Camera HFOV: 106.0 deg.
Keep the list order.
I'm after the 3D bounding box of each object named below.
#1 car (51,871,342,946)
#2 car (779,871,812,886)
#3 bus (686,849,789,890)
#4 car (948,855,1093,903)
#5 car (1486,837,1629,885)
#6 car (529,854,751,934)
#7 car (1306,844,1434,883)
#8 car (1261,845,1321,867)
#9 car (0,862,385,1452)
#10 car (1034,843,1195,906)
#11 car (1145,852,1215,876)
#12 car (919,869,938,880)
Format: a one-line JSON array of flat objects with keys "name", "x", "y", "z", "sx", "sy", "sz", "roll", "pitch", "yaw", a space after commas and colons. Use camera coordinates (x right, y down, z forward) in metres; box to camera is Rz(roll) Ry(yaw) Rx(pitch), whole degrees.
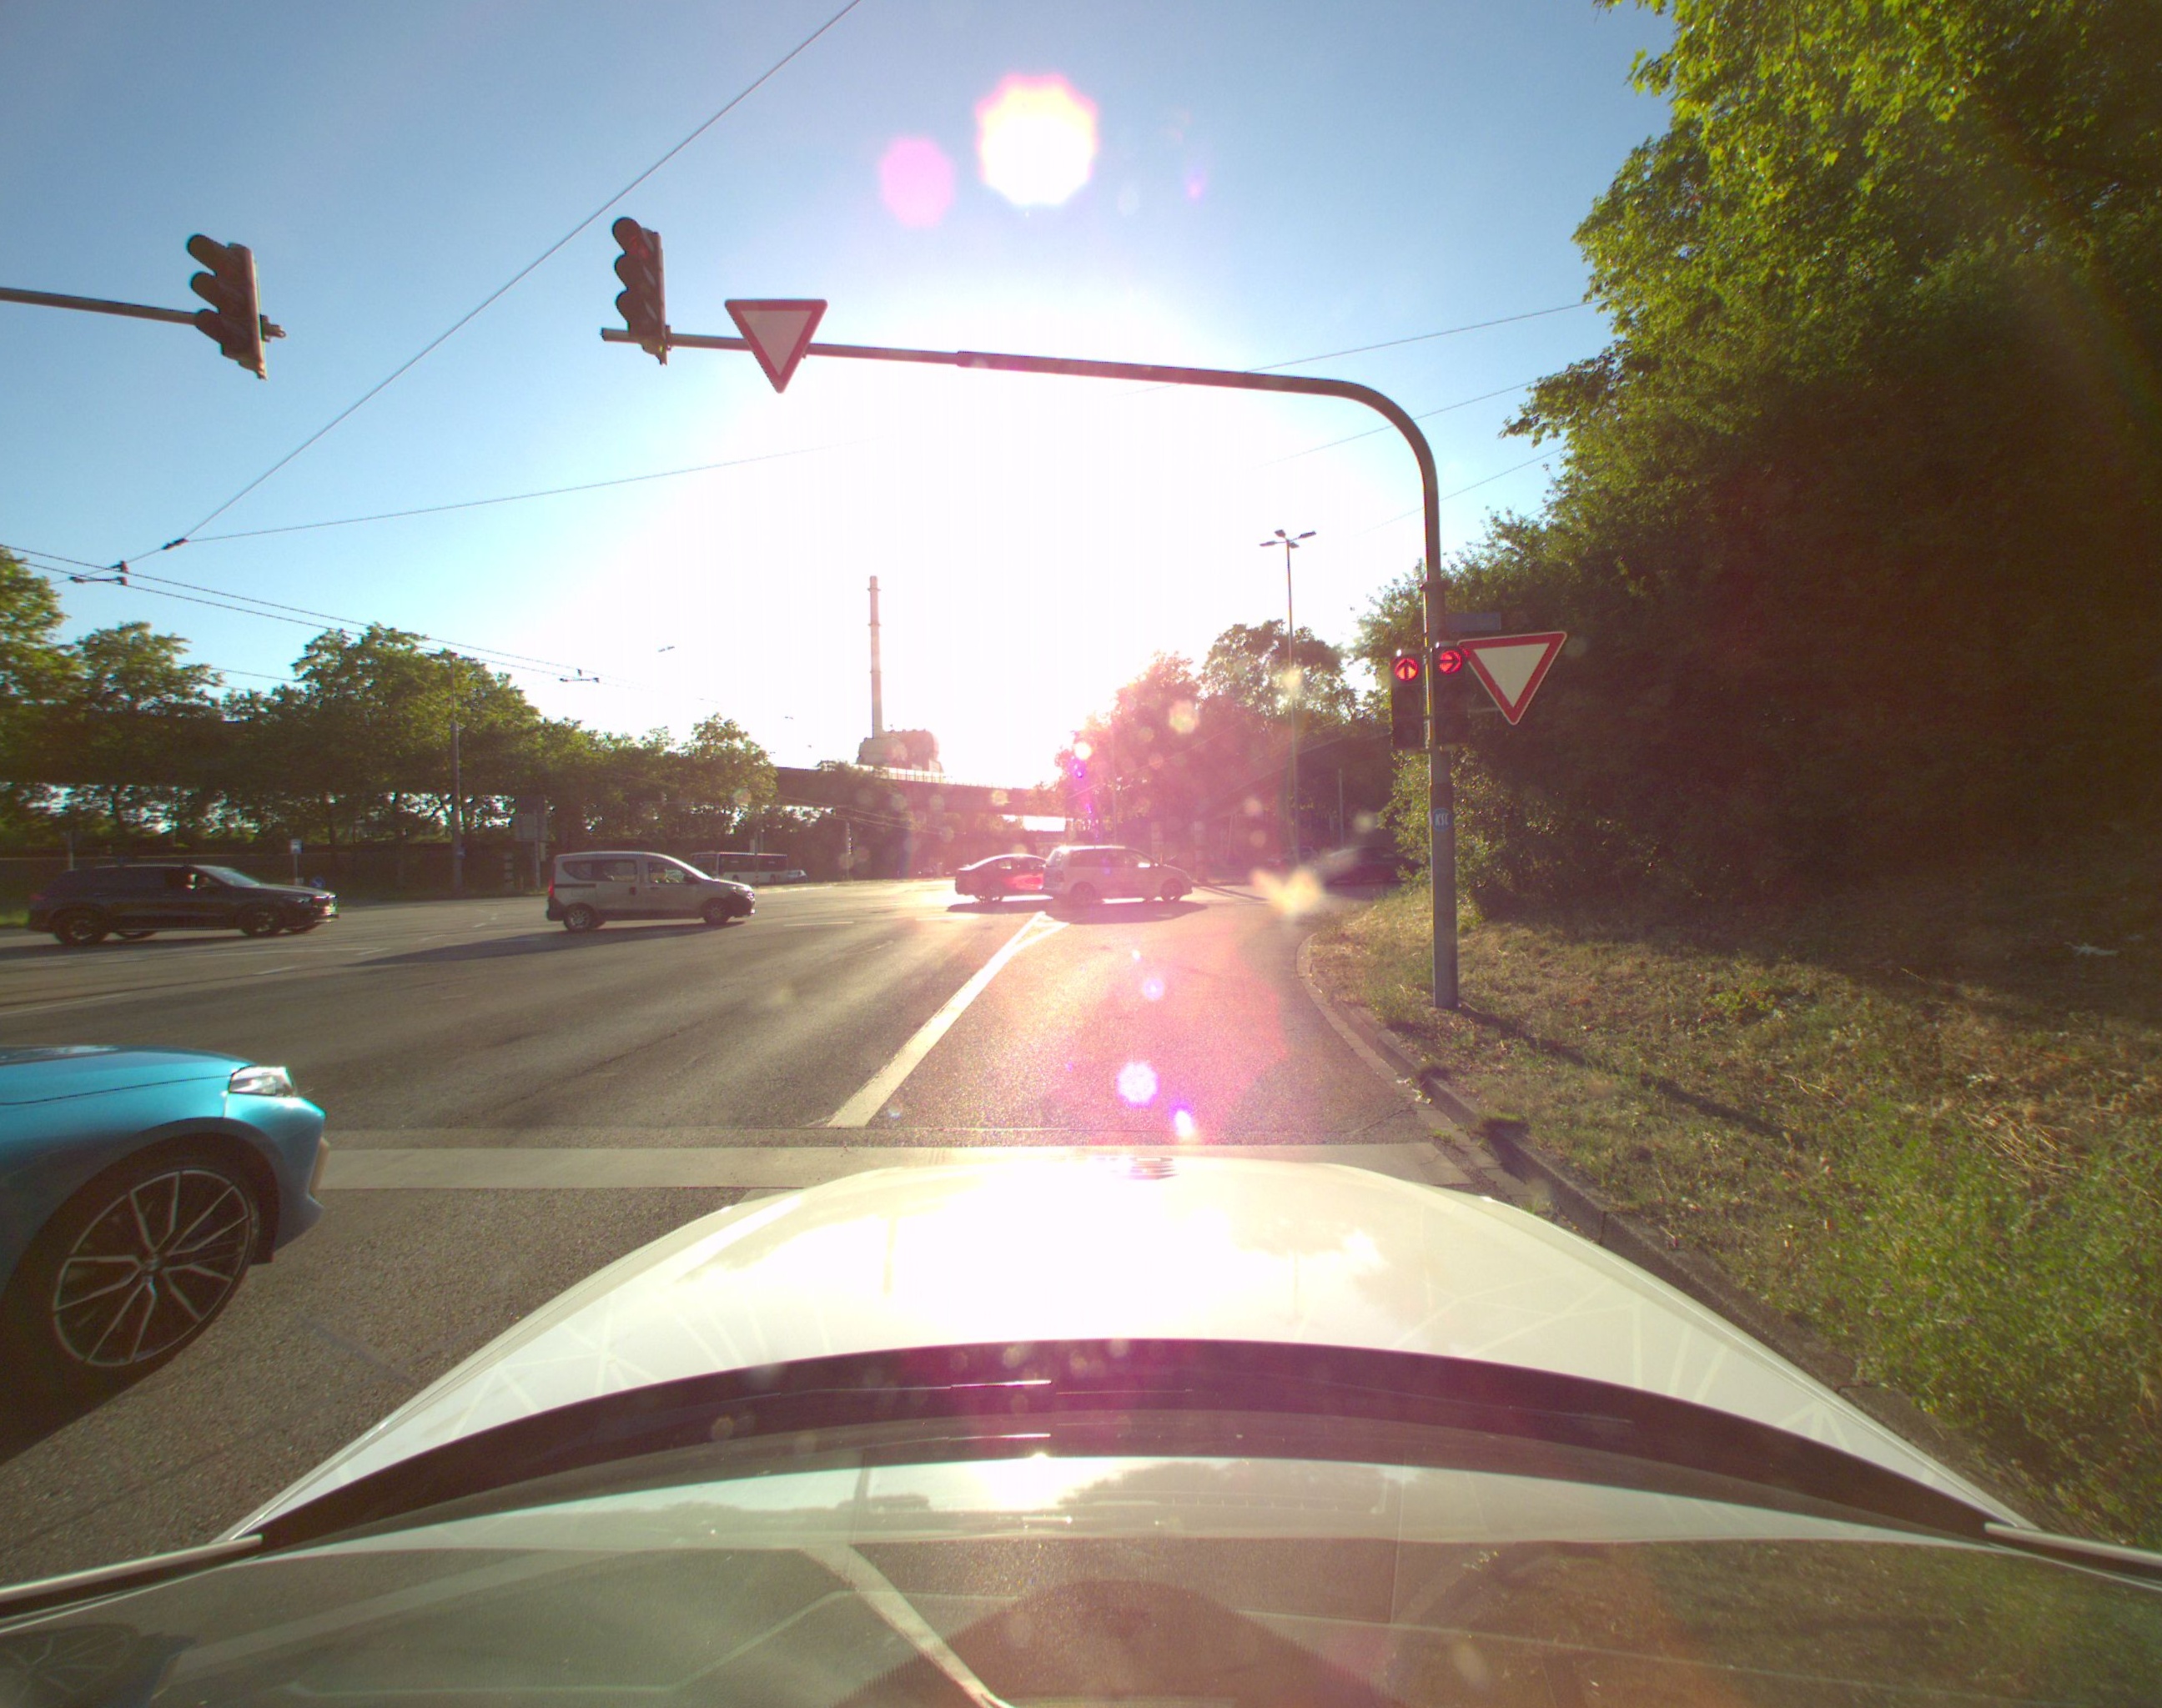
[{"name": "car", "x": -20.864, "y": 1.230, "z": 19.469, "sx": 4.417, "sy": 1.526, "sz": 1.611, "roll": -1, "pitch": 0, "yaw": -23}, {"name": "car", "x": -28.567, "y": 2.443, "z": 81.603, "sx": 1.600, "sy": 1.419, "sz": 4.012, "roll": -1, "pitch": 0, "yaw": 3}, {"name": "bus", "x": -29.418, "y": 1.365, "z": 70.629, "sx": 2.532, "sy": 3.130, "sz": 12.931, "roll": -2, "pitch": -2, "yaw": 4}, {"name": "car", "x": -1.897, "y": 0.759, "z": 25.611, "sx": 4.287, "sy": 1.364, "sz": 1.613, "roll": -1, "pitch": 0, "yaw": -19}, {"name": "car", "x": 16.850, "y": 0.212, "z": 28.806, "sx": 4.766, "sy": 1.575, "sz": 1.683, "roll": -1, "pitch": 0, "yaw": -19}, {"name": "car", "x": -10.201, "y": 0.868, "z": 19.246, "sx": 4.417, "sy": 1.678, "sz": 1.681, "roll": -1, "pitch": 0, "yaw": -22}, {"name": "car", "x": 10.929, "y": 0.341, "z": 30.848, "sx": 4.490, "sy": 1.369, "sz": 1.683, "roll": -1, "pitch": 0, "yaw": -19}, {"name": "car", "x": 15.483, "y": 0.143, "z": 60.169, "sx": 4.005, "sy": 1.512, "sz": 1.684, "roll": -1, "pitch": 0, "yaw": -17}, {"name": "car", "x": -3.565, "y": 0.794, "z": 1.063, "sx": 1.709, "sy": 1.466, "sz": 4.205, "roll": -2, "pitch": 0, "yaw": -1}, {"name": "car", "x": 0.938, "y": 0.543, "z": 23.251, "sx": 4.287, "sy": 1.631, "sz": 1.683, "roll": -1, "pitch": 0, "yaw": -19}, {"name": "car", "x": 6.950, "y": 0.665, "z": 57.030, "sx": 4.585, "sy": 1.575, "sz": 1.685, "roll": -1, "pitch": 0, "yaw": -16}, {"name": "car", "x": -21.024, "y": 2.767, "z": 112.162, "sx": 1.600, "sy": 1.419, "sz": 4.012, "roll": -1, "pitch": 0, "yaw": 3}]
